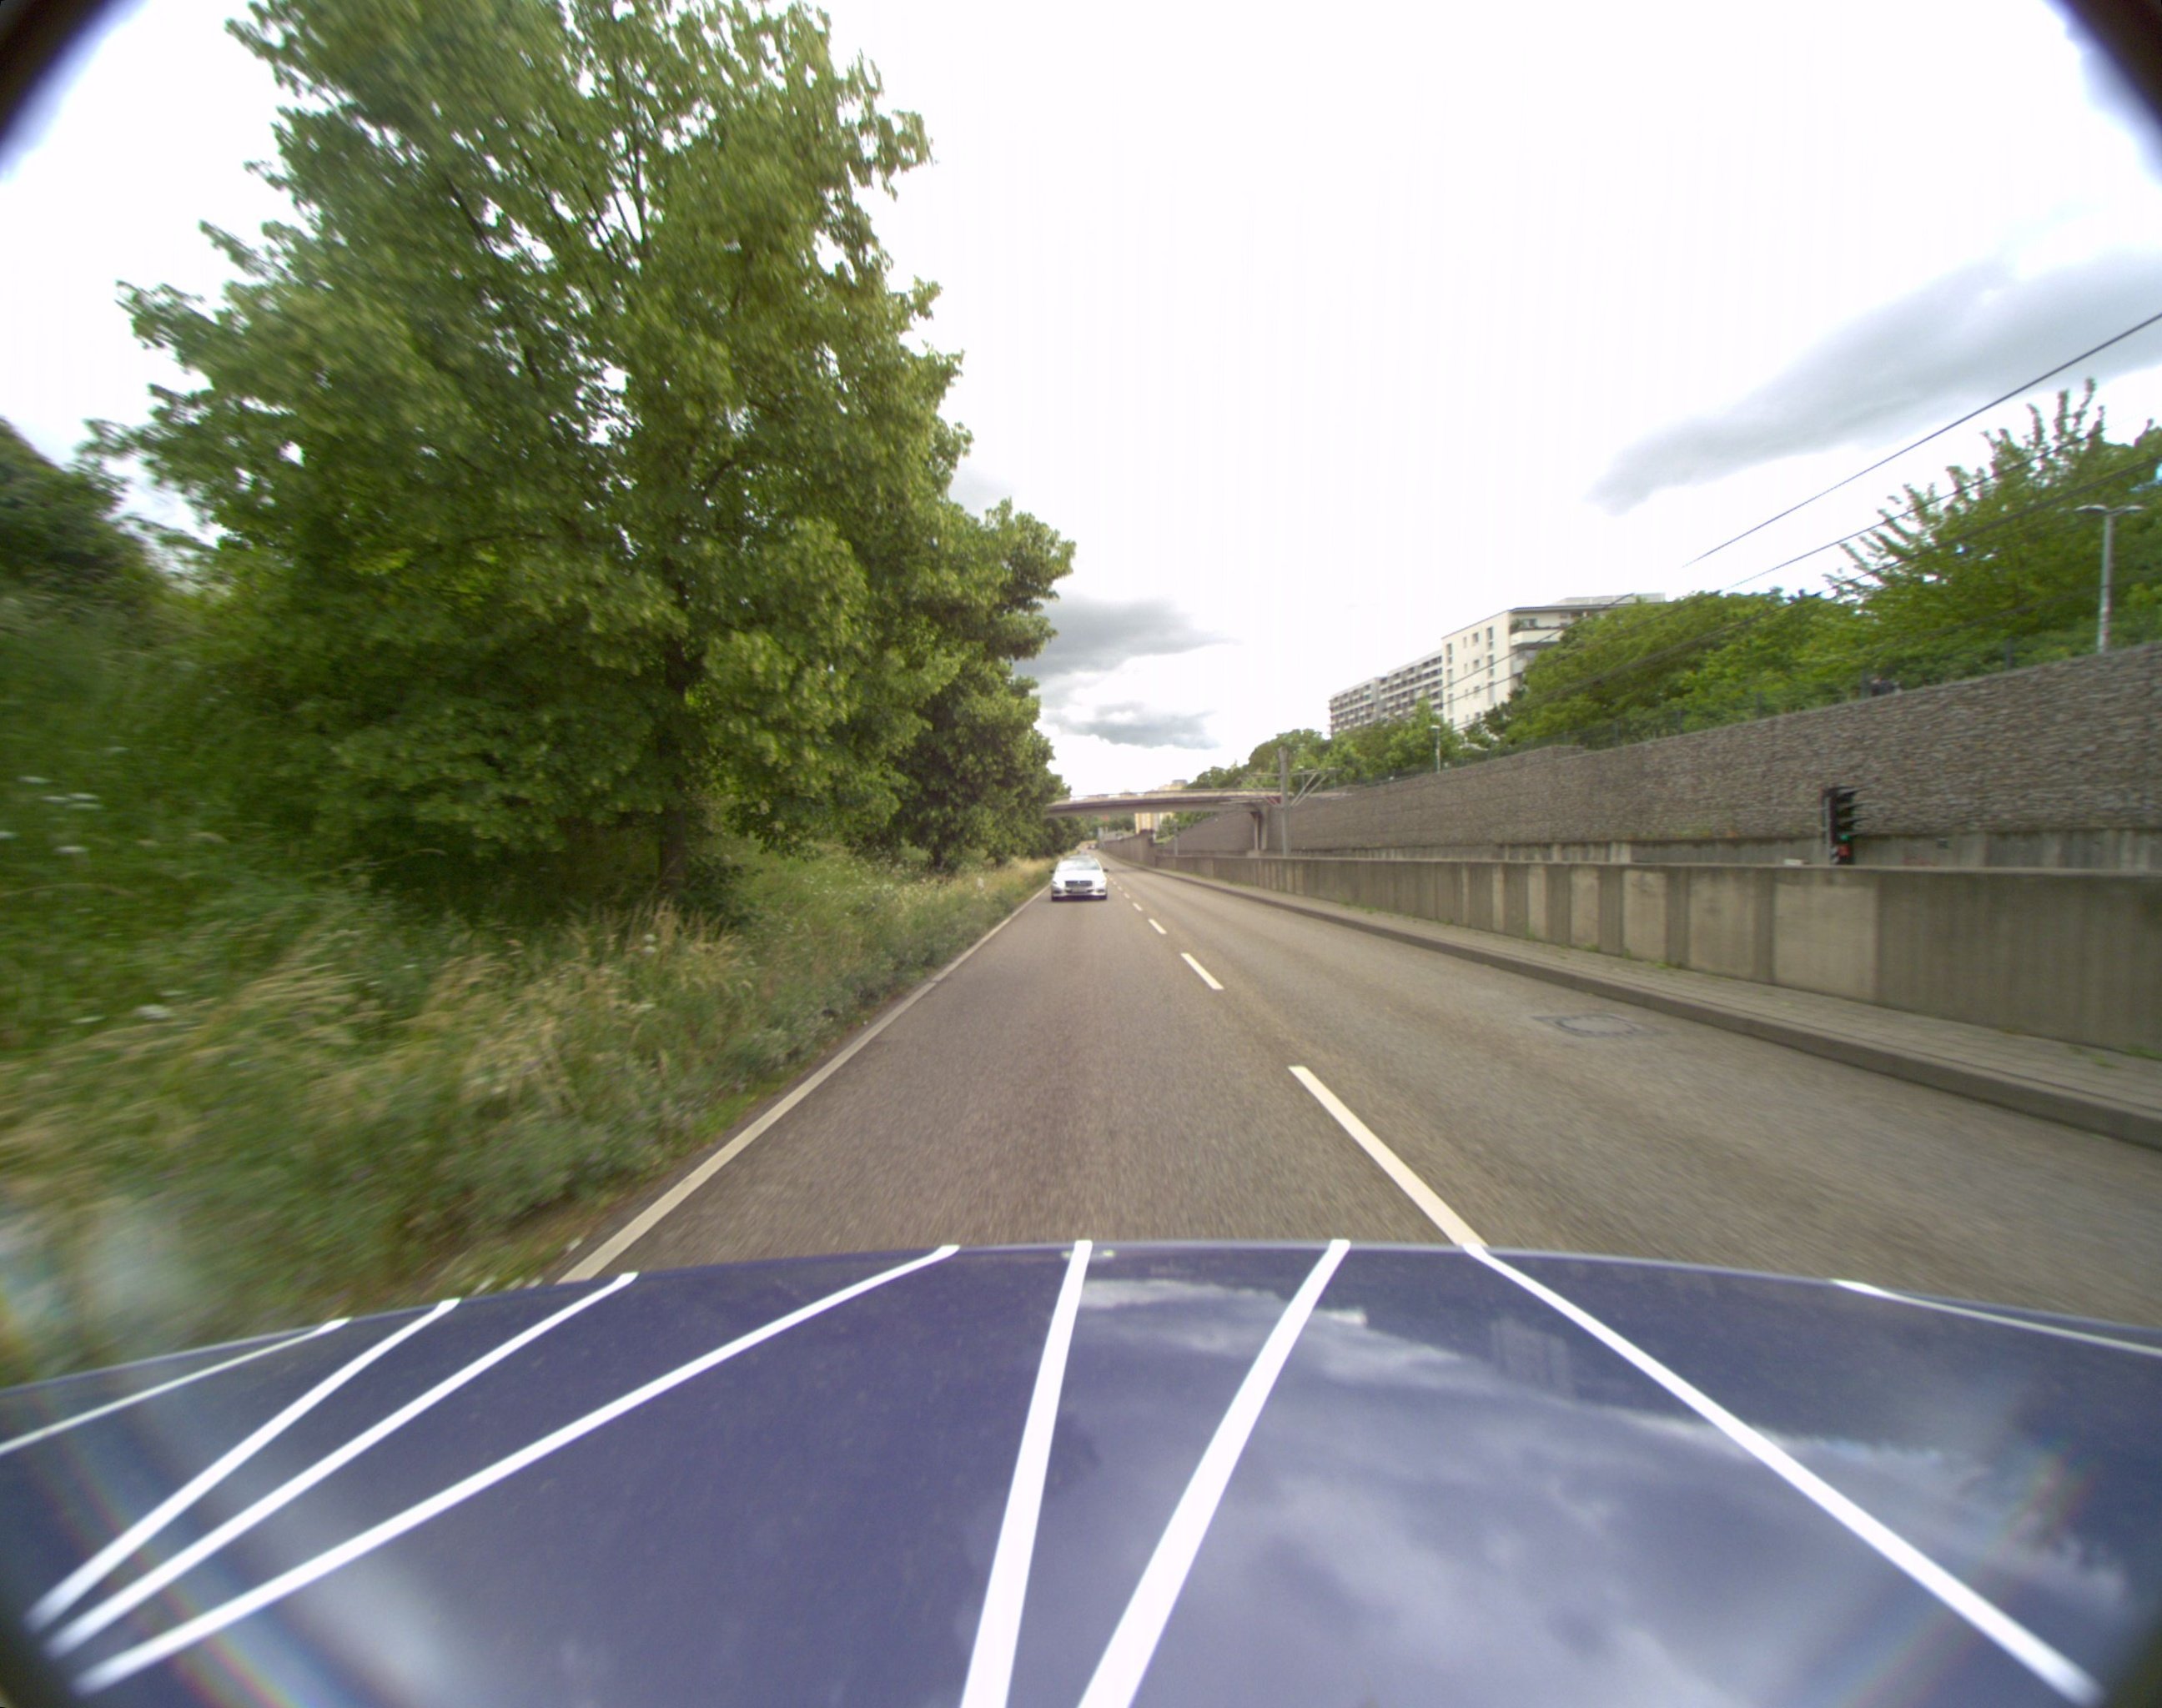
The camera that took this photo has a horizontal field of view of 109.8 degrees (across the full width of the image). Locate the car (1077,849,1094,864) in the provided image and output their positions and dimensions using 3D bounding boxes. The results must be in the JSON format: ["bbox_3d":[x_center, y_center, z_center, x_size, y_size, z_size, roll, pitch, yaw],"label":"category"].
[{"bbox_3d":[0.560,0.321,93.782,1.998,1.746,4.000,-2,1,1],"label":"car"}]

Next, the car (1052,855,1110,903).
[{"bbox_3d":[0.018,0.814,26.797,1.842,1.499,4.160,-1,0,1],"label":"car"}]

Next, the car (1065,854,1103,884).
[{"bbox_3d":[0.176,0.773,41.241,1.878,1.459,3.999,-2,1,1],"label":"car"}]
